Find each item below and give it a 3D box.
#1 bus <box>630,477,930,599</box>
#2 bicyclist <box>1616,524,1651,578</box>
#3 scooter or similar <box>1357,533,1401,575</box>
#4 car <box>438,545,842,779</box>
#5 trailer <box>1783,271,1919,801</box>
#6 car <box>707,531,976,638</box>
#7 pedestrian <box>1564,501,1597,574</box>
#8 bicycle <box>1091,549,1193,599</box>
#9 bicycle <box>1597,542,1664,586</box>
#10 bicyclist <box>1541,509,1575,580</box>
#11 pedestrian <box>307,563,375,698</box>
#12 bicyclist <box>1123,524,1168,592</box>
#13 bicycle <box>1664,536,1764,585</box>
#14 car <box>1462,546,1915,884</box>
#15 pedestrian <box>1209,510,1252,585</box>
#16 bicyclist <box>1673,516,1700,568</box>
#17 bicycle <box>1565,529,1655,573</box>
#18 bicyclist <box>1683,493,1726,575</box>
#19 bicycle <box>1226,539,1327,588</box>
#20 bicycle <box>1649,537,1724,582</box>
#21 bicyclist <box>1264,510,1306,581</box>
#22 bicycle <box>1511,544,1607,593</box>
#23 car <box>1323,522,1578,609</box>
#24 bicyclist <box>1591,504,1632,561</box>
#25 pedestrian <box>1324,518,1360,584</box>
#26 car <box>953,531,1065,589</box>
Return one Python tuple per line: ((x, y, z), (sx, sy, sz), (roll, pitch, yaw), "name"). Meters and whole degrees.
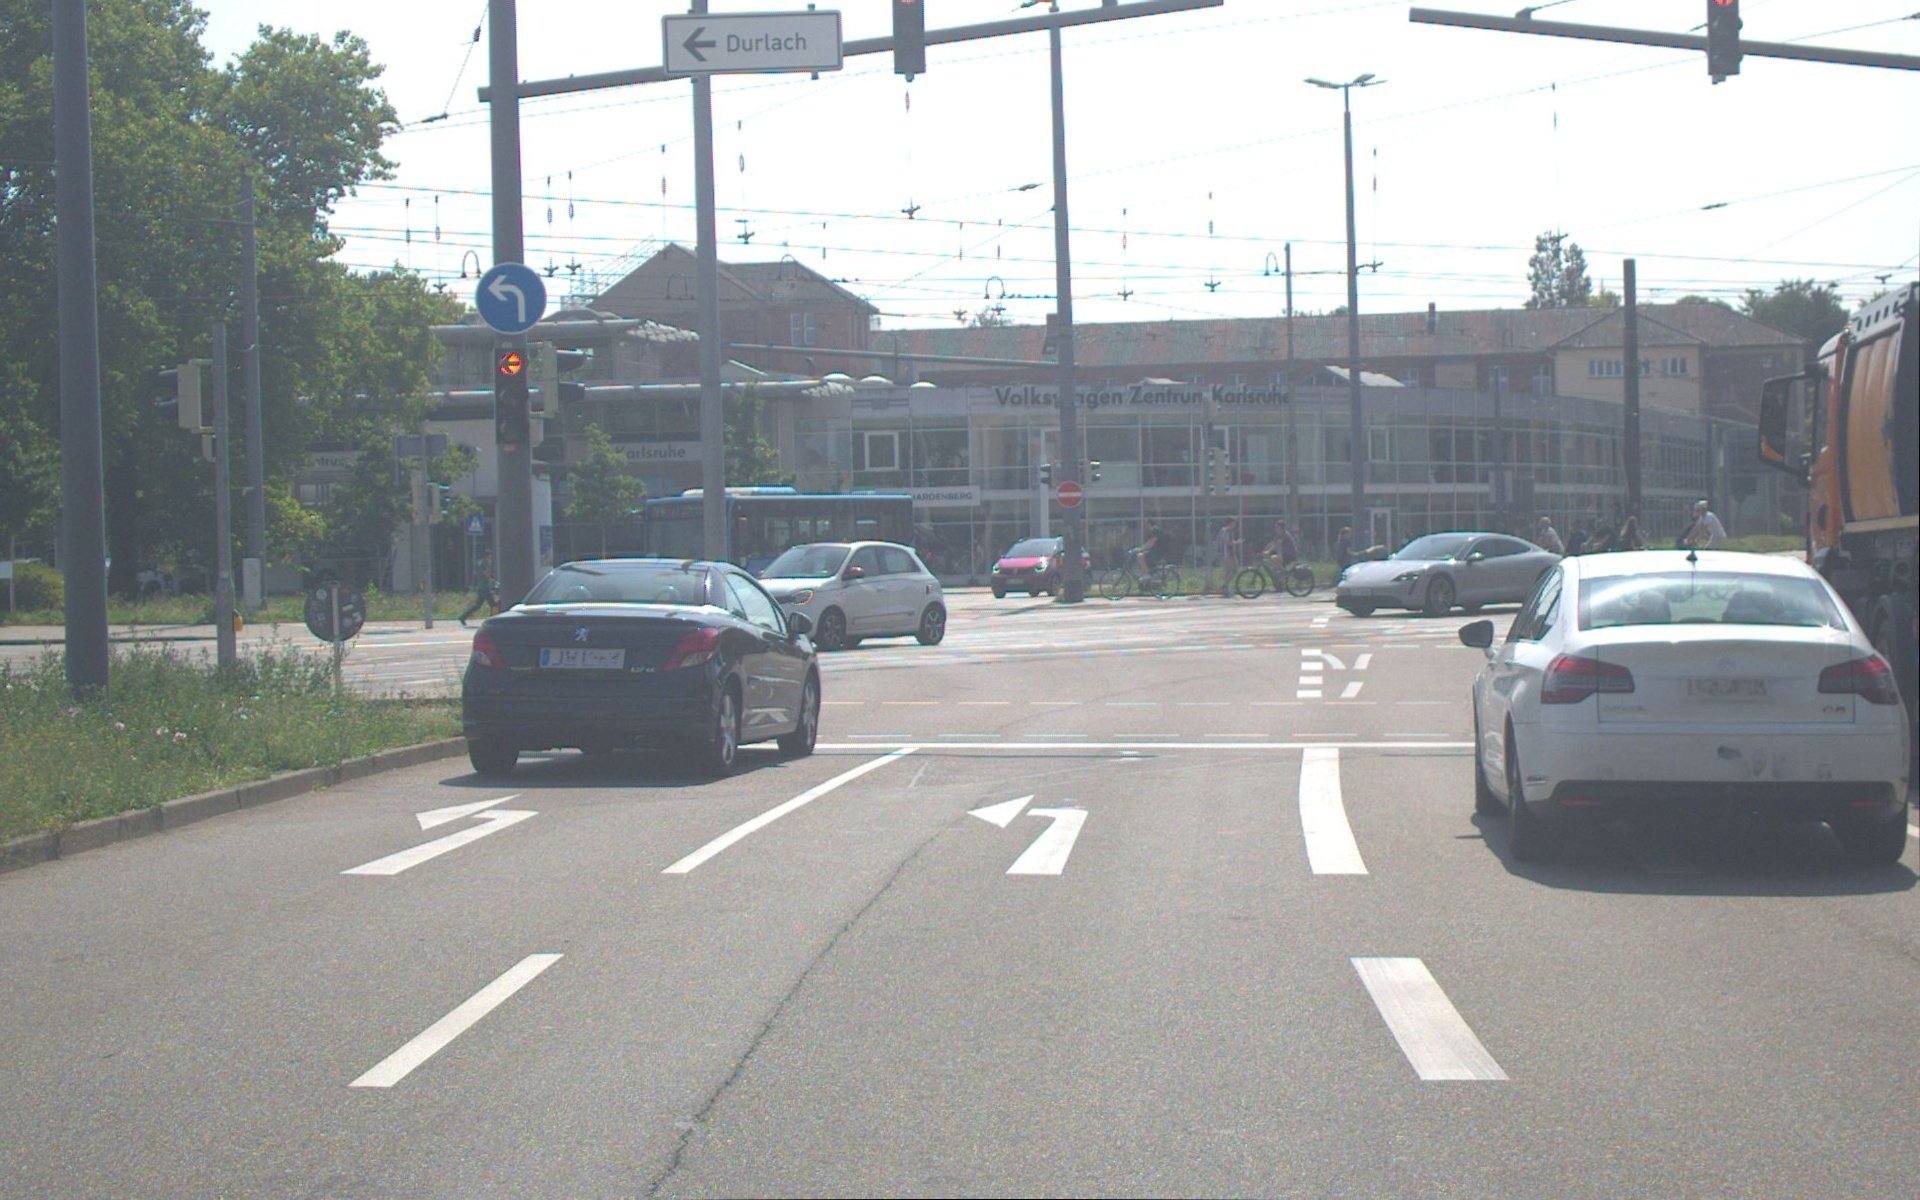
((-4.443, -1.643, 88.912), (3.057, 2.921, 11.840), (-1, 1, 22), "bus")
((15.735, -1.138, 80.331), (0.594, 1.243, 0.507), (-2, 1, -32), "bicyclist")
((9.987, -1.097, 81.985), (0.835, 0.971, 0.793), (-1, 1, -11), "scooter or similar")
((-2.044, 0.352, 23.099), (1.758, 1.399, 3.979), (0, 1, 9), "car")
((6.995, -0.416, 22.436), (2.463, 2.997, 6.324), (0, 1, 7), "trailer")
((-1.649, -0.237, 49.187), (1.773, 1.420, 4.059), (-1, 1, 34), "car")
((15.021, -1.509, 83.226), (0.622, 1.746, 0.628), (-1, 1, -3), "pedestrian")
((4.171, -0.600, 78.983), (2.196, 1.084, 0.763), (-1, 1, -13), "bicycle")
((15.667, -0.839, 80.290), (1.591, 0.981, 0.507), (-2, 1, -31), "bicycle")
((12.814, -1.198, 73.699), (0.664, 1.503, 0.714), (-1, 1, 7), "bicyclist")
((-6.021, 0.295, 33.425), (0.595, 1.264, 0.505), (-2, 3, -13), "pedestrian")
((4.260, -0.963, 79.000), (0.797, 1.536, 0.763), (-1, 1, -13), "bicyclist")
((16.362, -0.853, 74.640), (1.977, 1.015, 0.715), (-1, 1, -6), "bicycle")
((3.517, 0.474, 17.303), (1.758, 1.450, 4.425), (0, 1, 6), "car")
((6.380, -1.242, 81.117), (0.784, 1.746, 0.808), (-1, 1, 20), "pedestrian")
((16.514, -1.319, 78.139), (0.504, 1.184, 0.507), (-1, 1, 22), "bicyclist")
((15.428, -1.161, 81.592), (1.977, 1.015, 0.715), (-2, 1, -20), "bicycle")
((16.162, -1.426, 74.611), (0.704, 1.758, 0.715), (-1, 1, -6), "bicyclist")
((7.357, -0.848, 79.948), (2.196, 1.084, 0.763), (-1, 1, -10), "bicycle")
((16.512, -0.922, 78.146), (1.592, 0.981, 0.507), (-1, 1, 22), "bicycle")
((7.551, -1.273, 79.979), (0.761, 1.628, 0.763), (-1, 1, -10), "bicyclist")
((12.832, -0.676, 73.712), (1.978, 1.015, 0.714), (-1, 1, 7), "bicycle")
((8.638, -0.617, 60.299), (4.574, 1.395, 1.945), (-2, 1, -43), "car")
((15.469, -1.596, 81.600), (0.668, 1.345, 0.712), (-2, 1, -20), "bicyclist")
((9.100, -1.161, 81.829), (0.635, 1.555, 0.748), (-1, 1, -10), "pedestrian")
((1.300, -1.047, 88.965), (1.730, 1.415, 3.837), (-1, 1, 20), "car")
